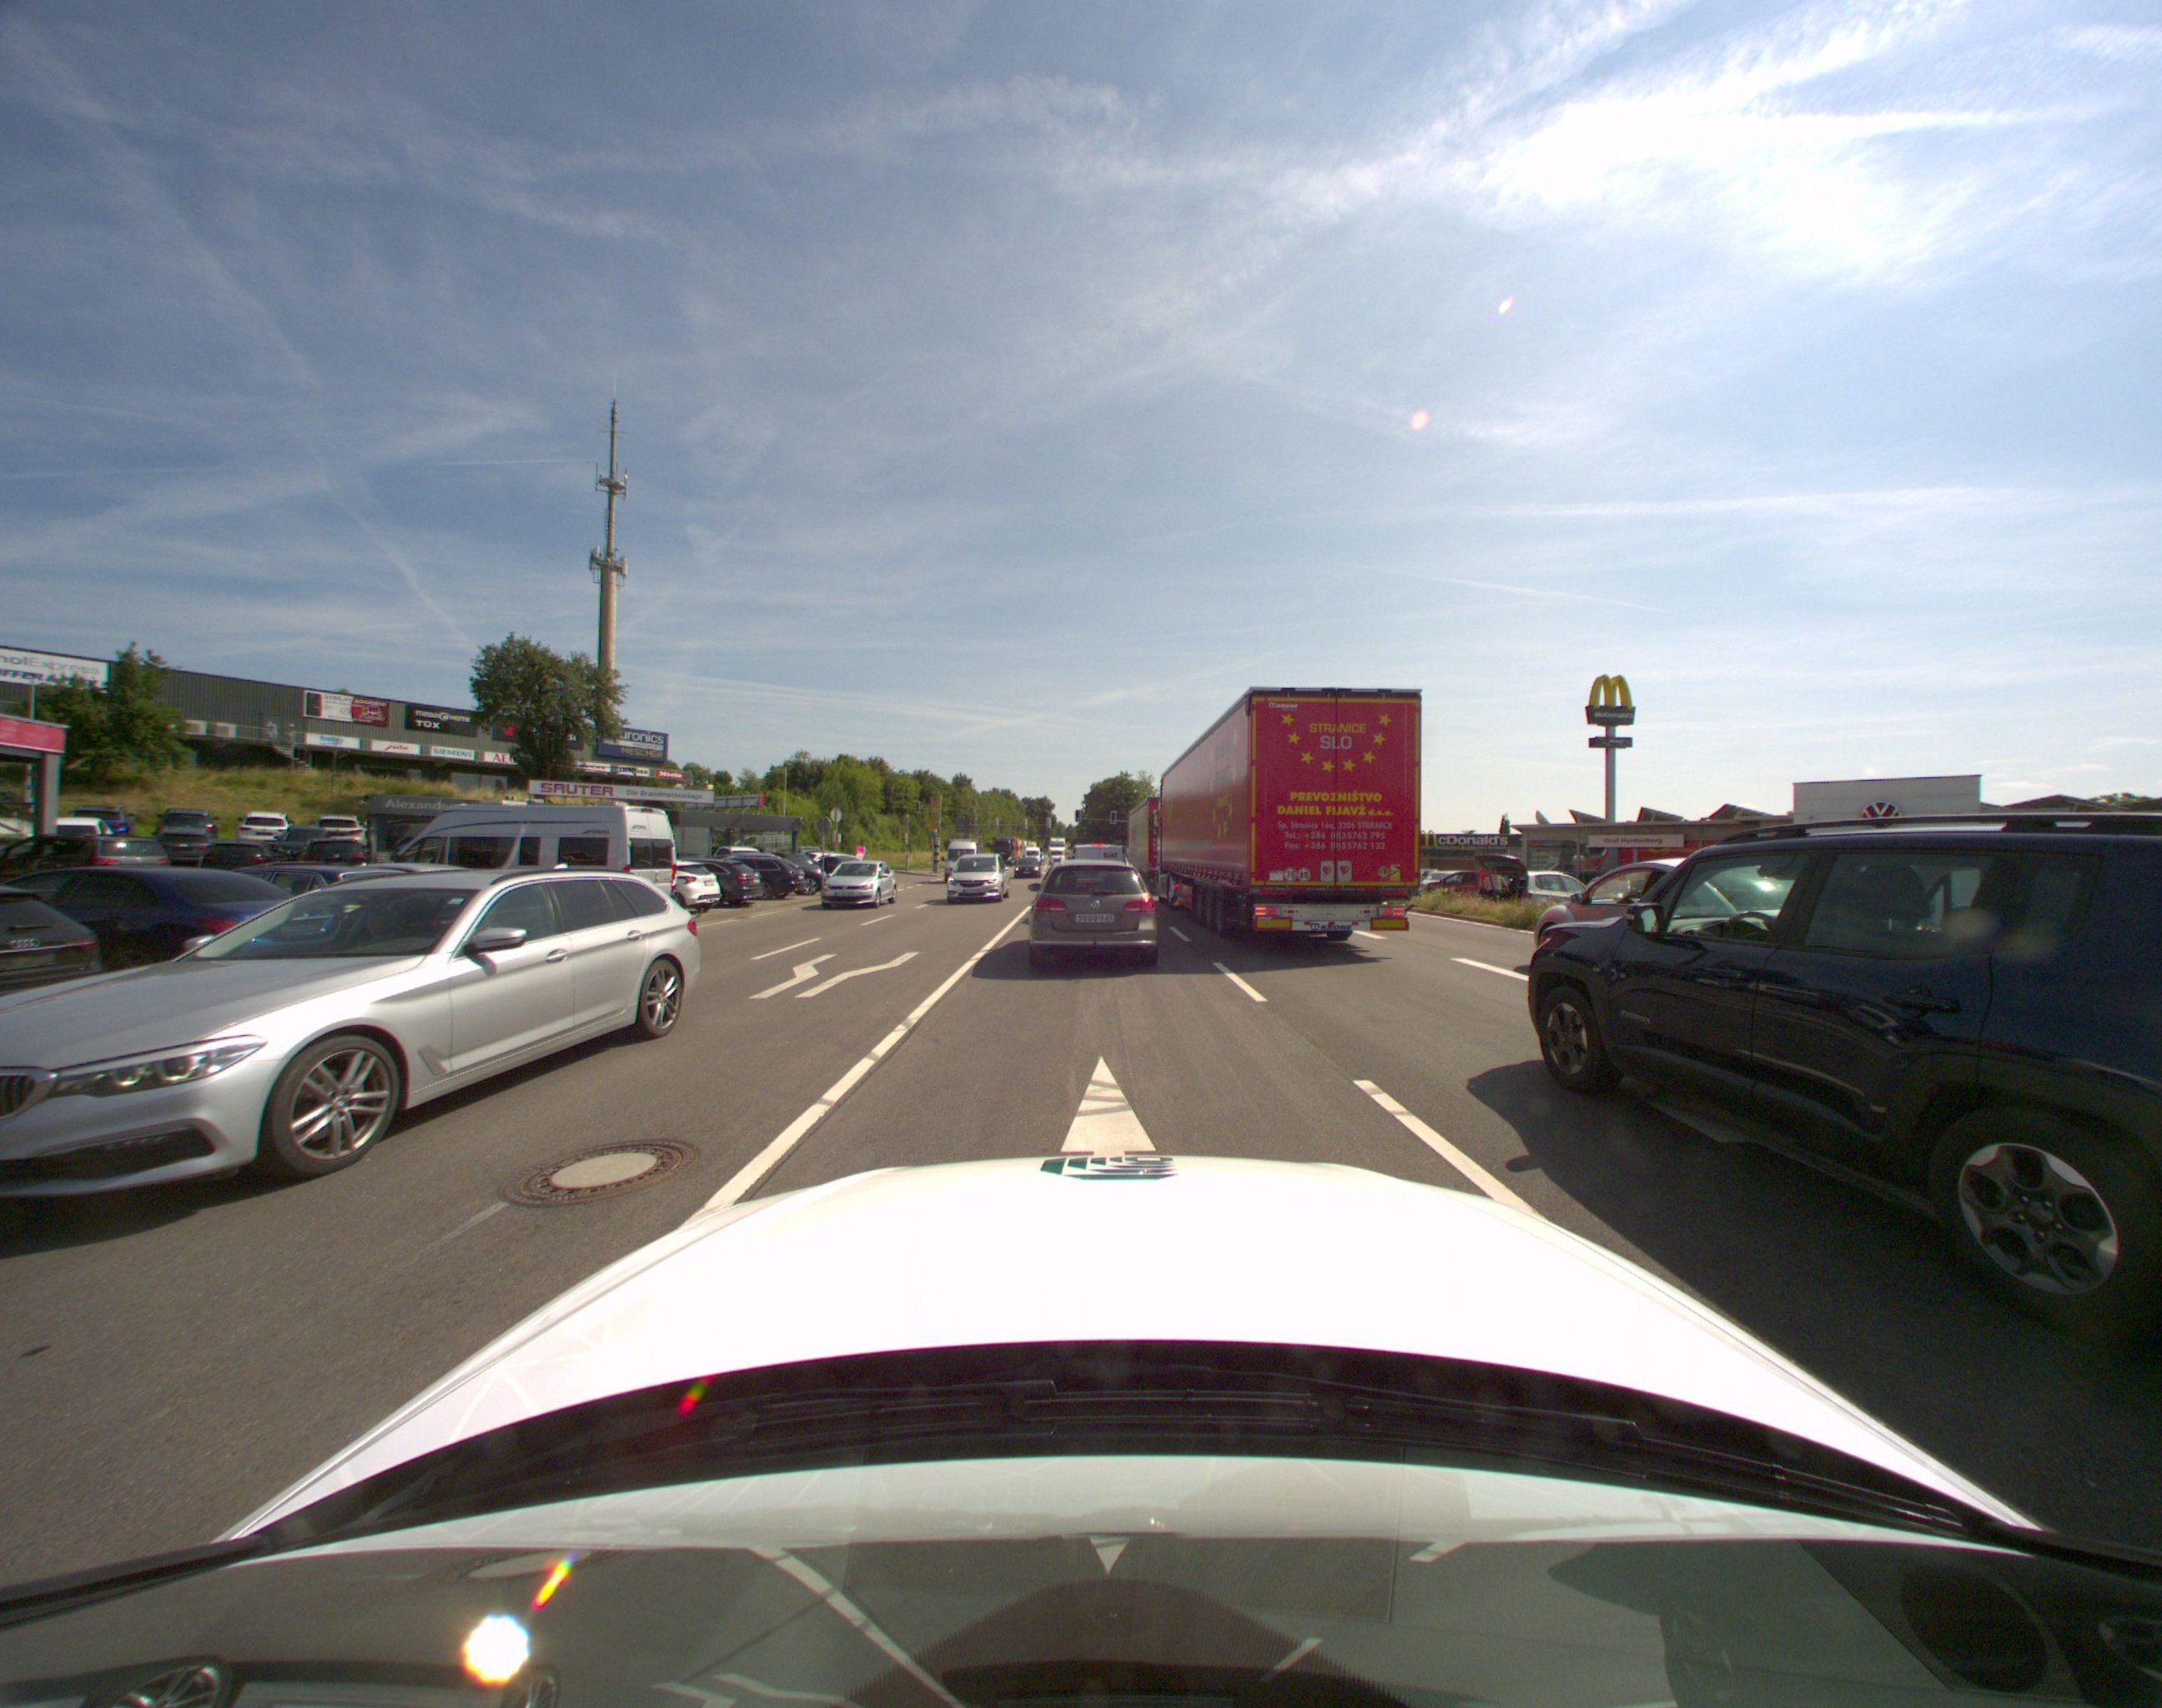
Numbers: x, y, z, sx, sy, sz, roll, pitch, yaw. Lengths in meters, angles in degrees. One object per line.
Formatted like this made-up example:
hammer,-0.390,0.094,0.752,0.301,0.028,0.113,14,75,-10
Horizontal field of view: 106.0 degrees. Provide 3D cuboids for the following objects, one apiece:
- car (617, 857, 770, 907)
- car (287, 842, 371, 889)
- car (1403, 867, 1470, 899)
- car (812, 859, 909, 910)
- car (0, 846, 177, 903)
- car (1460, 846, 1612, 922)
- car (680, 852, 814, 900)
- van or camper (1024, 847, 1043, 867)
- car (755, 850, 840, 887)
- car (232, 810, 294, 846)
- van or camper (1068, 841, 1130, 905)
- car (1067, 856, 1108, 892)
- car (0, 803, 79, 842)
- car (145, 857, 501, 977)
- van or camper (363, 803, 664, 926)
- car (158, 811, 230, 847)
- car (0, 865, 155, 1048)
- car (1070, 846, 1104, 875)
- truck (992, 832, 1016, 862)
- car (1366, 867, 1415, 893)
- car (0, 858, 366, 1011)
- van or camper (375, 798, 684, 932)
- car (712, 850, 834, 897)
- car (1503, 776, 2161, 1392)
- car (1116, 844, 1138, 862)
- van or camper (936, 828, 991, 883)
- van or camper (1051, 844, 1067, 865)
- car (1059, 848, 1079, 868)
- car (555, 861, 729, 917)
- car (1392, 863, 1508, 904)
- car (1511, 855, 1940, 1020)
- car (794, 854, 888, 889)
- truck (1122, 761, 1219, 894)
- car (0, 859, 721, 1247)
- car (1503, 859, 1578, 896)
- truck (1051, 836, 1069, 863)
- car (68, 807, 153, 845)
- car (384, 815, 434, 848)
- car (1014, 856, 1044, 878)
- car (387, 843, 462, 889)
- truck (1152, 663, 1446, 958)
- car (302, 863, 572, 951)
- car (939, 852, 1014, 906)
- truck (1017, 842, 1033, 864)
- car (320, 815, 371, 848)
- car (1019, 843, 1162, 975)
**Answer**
car,-11.832,0.827,25.077,3.805,1.448,1.842,0,0,-1
car,-27.189,0.399,29.406,3.780,1.588,1.780,-1,0,40
car,18.606,1.489,42.524,4.059,1.536,1.718,0,0,-43
car,-6.839,0.887,25.678,1.830,1.448,4.082,0,0,2
car,-28.980,0.589,23.675,3.795,1.588,1.773,0,0,8
car,12.376,0.761,22.134,3.852,1.921,1.689,0,0,-25
car,-11.353,0.735,27.903,3.805,1.539,1.842,0,0,-1
van or camper,-6.140,0.359,104.879,2.166,2.551,4.170,0,0,0
car,-13.703,0.684,39.325,3.780,1.693,1.854,-1,0,29
car,-38.746,-1.185,38.655,1.745,1.537,3.705,1,-1,-41
van or camper,0.546,0.582,26.361,1.846,1.906,3.784,0,0,0
car,0.318,0.877,36.069,1.721,1.519,3.312,0,-1,1
car,-43.680,-1.298,33.952,1.745,1.450,3.705,1,-1,-41
car,-11.426,0.910,12.494,3.697,1.484,1.707,4,0,-2
van or camper,-13.907,0.234,20.253,5.871,2.873,2.290,0,0,1
car,-40.271,-1.089,37.034,1.745,1.450,3.705,1,-1,-41
car,-11.284,0.829,7.248,3.833,1.484,1.801,4,0,-2
car,0.375,0.356,44.823,1.720,1.519,3.314,0,-1,2
truck,-10.228,-0.898,108.646,2.807,3.786,6.981,-1,0,-4
car,19.758,1.618,51.921,1.716,1.536,4.063,0,0,40
car,-11.285,0.901,9.842,3.697,1.555,1.707,2,1,-2
van or camper,-11.870,0.221,17.831,5.226,2.731,2.211,0,0,1
car,-11.361,0.695,30.261,3.805,1.675,1.842,0,0,-1
car,3.903,0.619,3.863,1.812,1.685,4.001,-1,0,2
car,3.972,-0.052,70.663,1.721,1.519,3.311,1,-1,0
van or camper,-7.057,0.097,49.552,2.199,3.056,5.904,3,0,1
van or camper,-3.165,0.104,118.366,2.217,2.841,5.710,1,-1,0
car,-1.155,0.401,79.714,1.719,1.909,3.315,0,-1,3
car,-12.070,0.935,22.580,3.805,1.448,1.842,0,0,-1
car,15.239,1.162,33.825,2.005,1.531,3.964,1,0,-28
car,6.916,0.756,9.385,1.655,1.472,3.995,-1,0,-3
car,-12.244,0.876,41.505,4.470,1.693,2.145,-1,0,31
truck,3.958,-1.057,40.547,3.052,5.220,17.006,0,0,0
car,-4.581,0.817,5.655,1.902,1.521,4.783,0,0,2
car,20.561,1.019,36.375,1.975,1.531,4.024,1,0,44
truck,-3.344,-0.703,133.055,2.544,4.307,7.595,-1,0,0
car,-42.026,-1.161,35.341,1.745,1.450,3.705,1,-1,-41
car,-32.362,-1.042,39.204,1.745,1.450,3.705,1,-1,-41
car,-3.548,0.841,55.784,1.660,1.409,3.927,-2,0,2
car,-24.529,0.430,30.540,1.775,1.588,3.790,0,0,-33
truck,3.898,-0.627,20.122,2.947,4.269,16.583,0,0,0
car,-11.913,0.943,15.251,3.581,1.480,1.813,-1,0,1
car,-3.532,0.802,28.248,1.902,1.663,4.182,-2,0,2
truck,-9.984,-0.248,145.605,2.528,3.786,6.981,-1,0,-3
car,-36.171,-1.064,40.106,1.745,1.450,3.705,1,-1,-41
car,0.226,0.705,11.958,1.782,1.638,3.507,-1,0,4
